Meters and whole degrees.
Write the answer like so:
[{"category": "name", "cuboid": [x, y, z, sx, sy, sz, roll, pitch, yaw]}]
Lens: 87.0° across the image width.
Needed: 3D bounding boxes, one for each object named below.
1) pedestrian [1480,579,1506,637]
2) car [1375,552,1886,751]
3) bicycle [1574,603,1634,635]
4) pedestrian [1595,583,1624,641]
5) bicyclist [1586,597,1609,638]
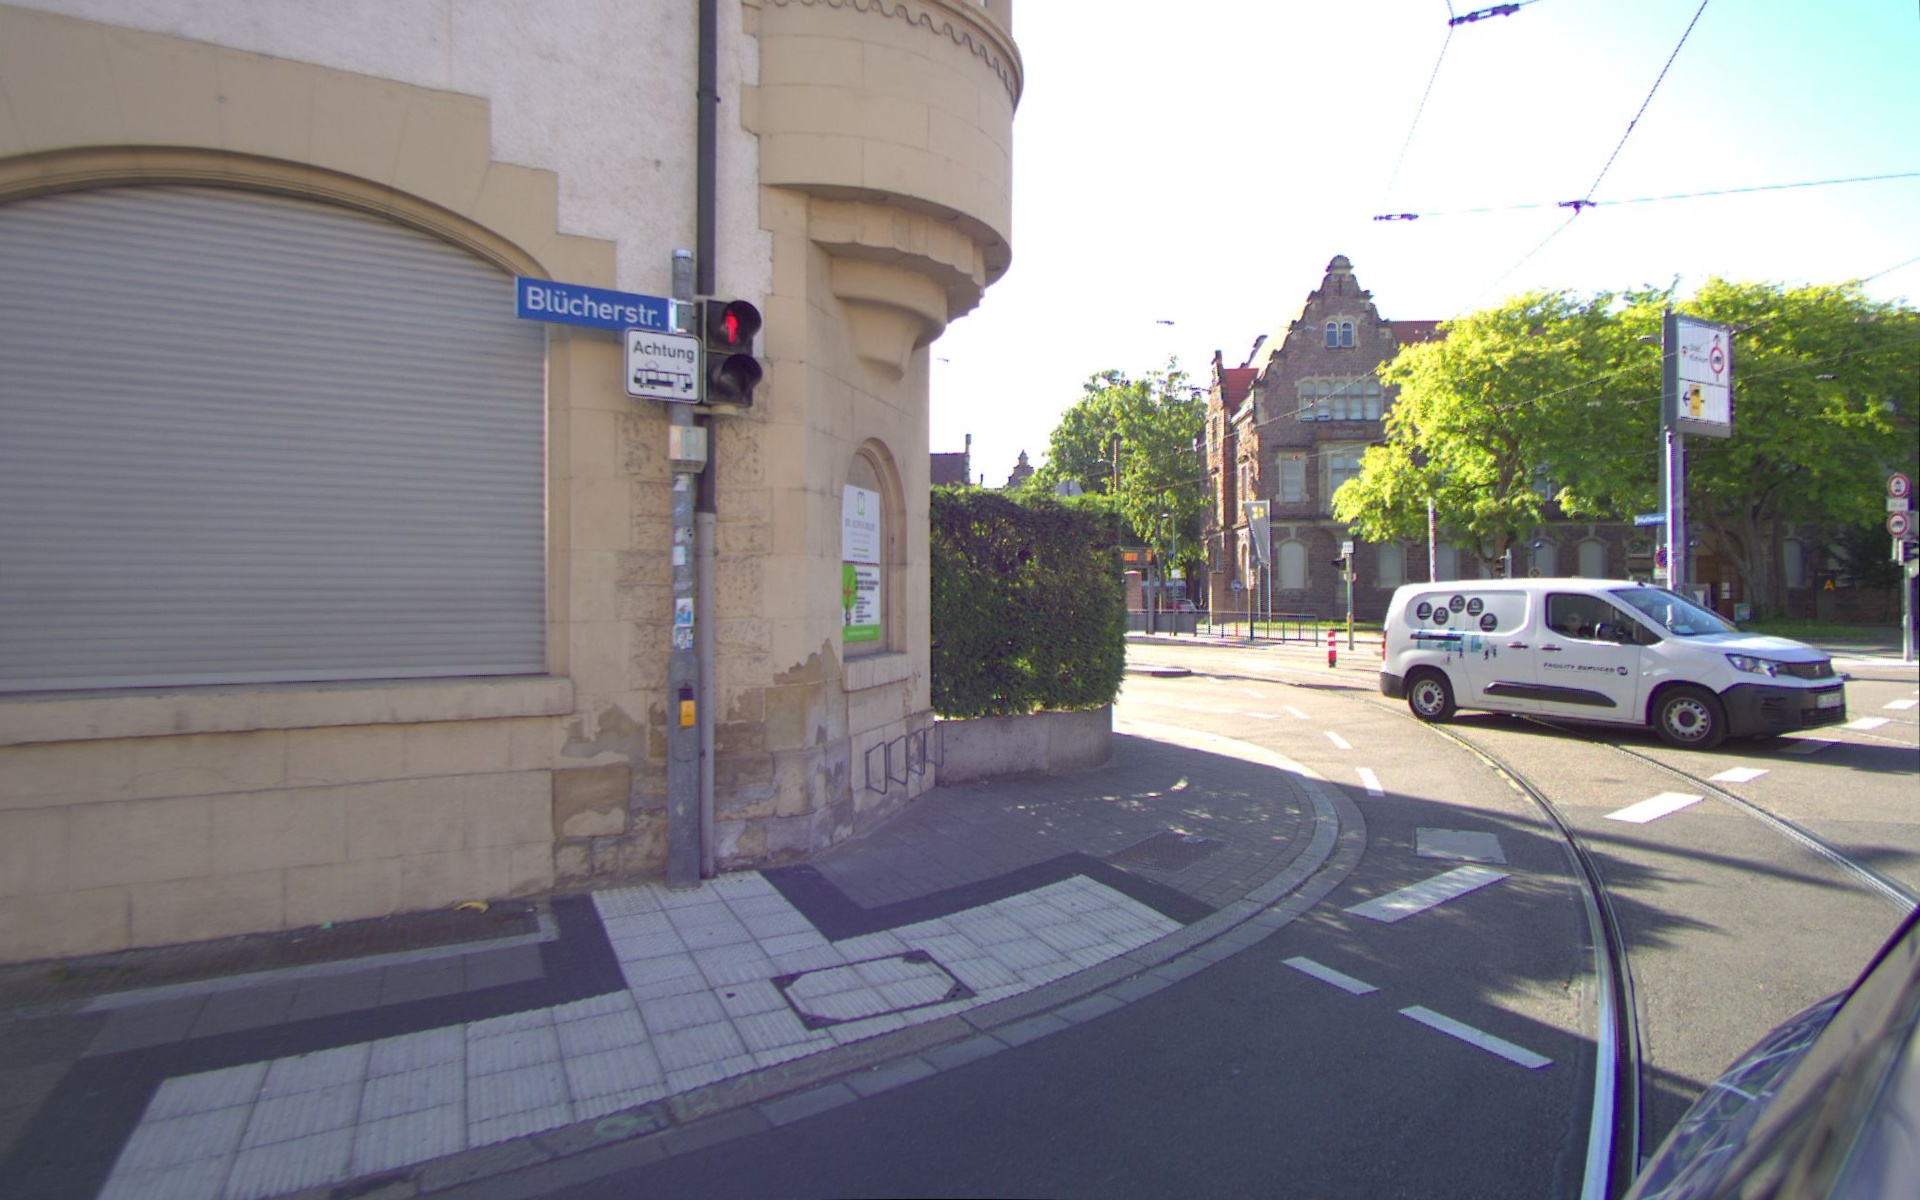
[{"category": "pedestrian", "cuboid": [18.321, 0.264, 34.787, 0.695, 1.979, 0.479, 0, 0, 42]}, {"category": "car", "cuboid": [7.497, 0.439, 11.931, 1.821, 1.820, 4.703, -3, 2, -28]}, {"category": "bicycle", "cuboid": [20.468, 0.590, 32.198, 1.582, 1.009, 0.473, 0, 0, 34]}, {"category": "pedestrian", "cuboid": [19.987, 0.364, 31.131, 0.667, 1.769, 0.479, 0, 0, 42]}, {"category": "bicyclist", "cuboid": [20.345, 0.555, 32.296, 0.614, 1.300, 0.473, 0, 0, 34]}]
